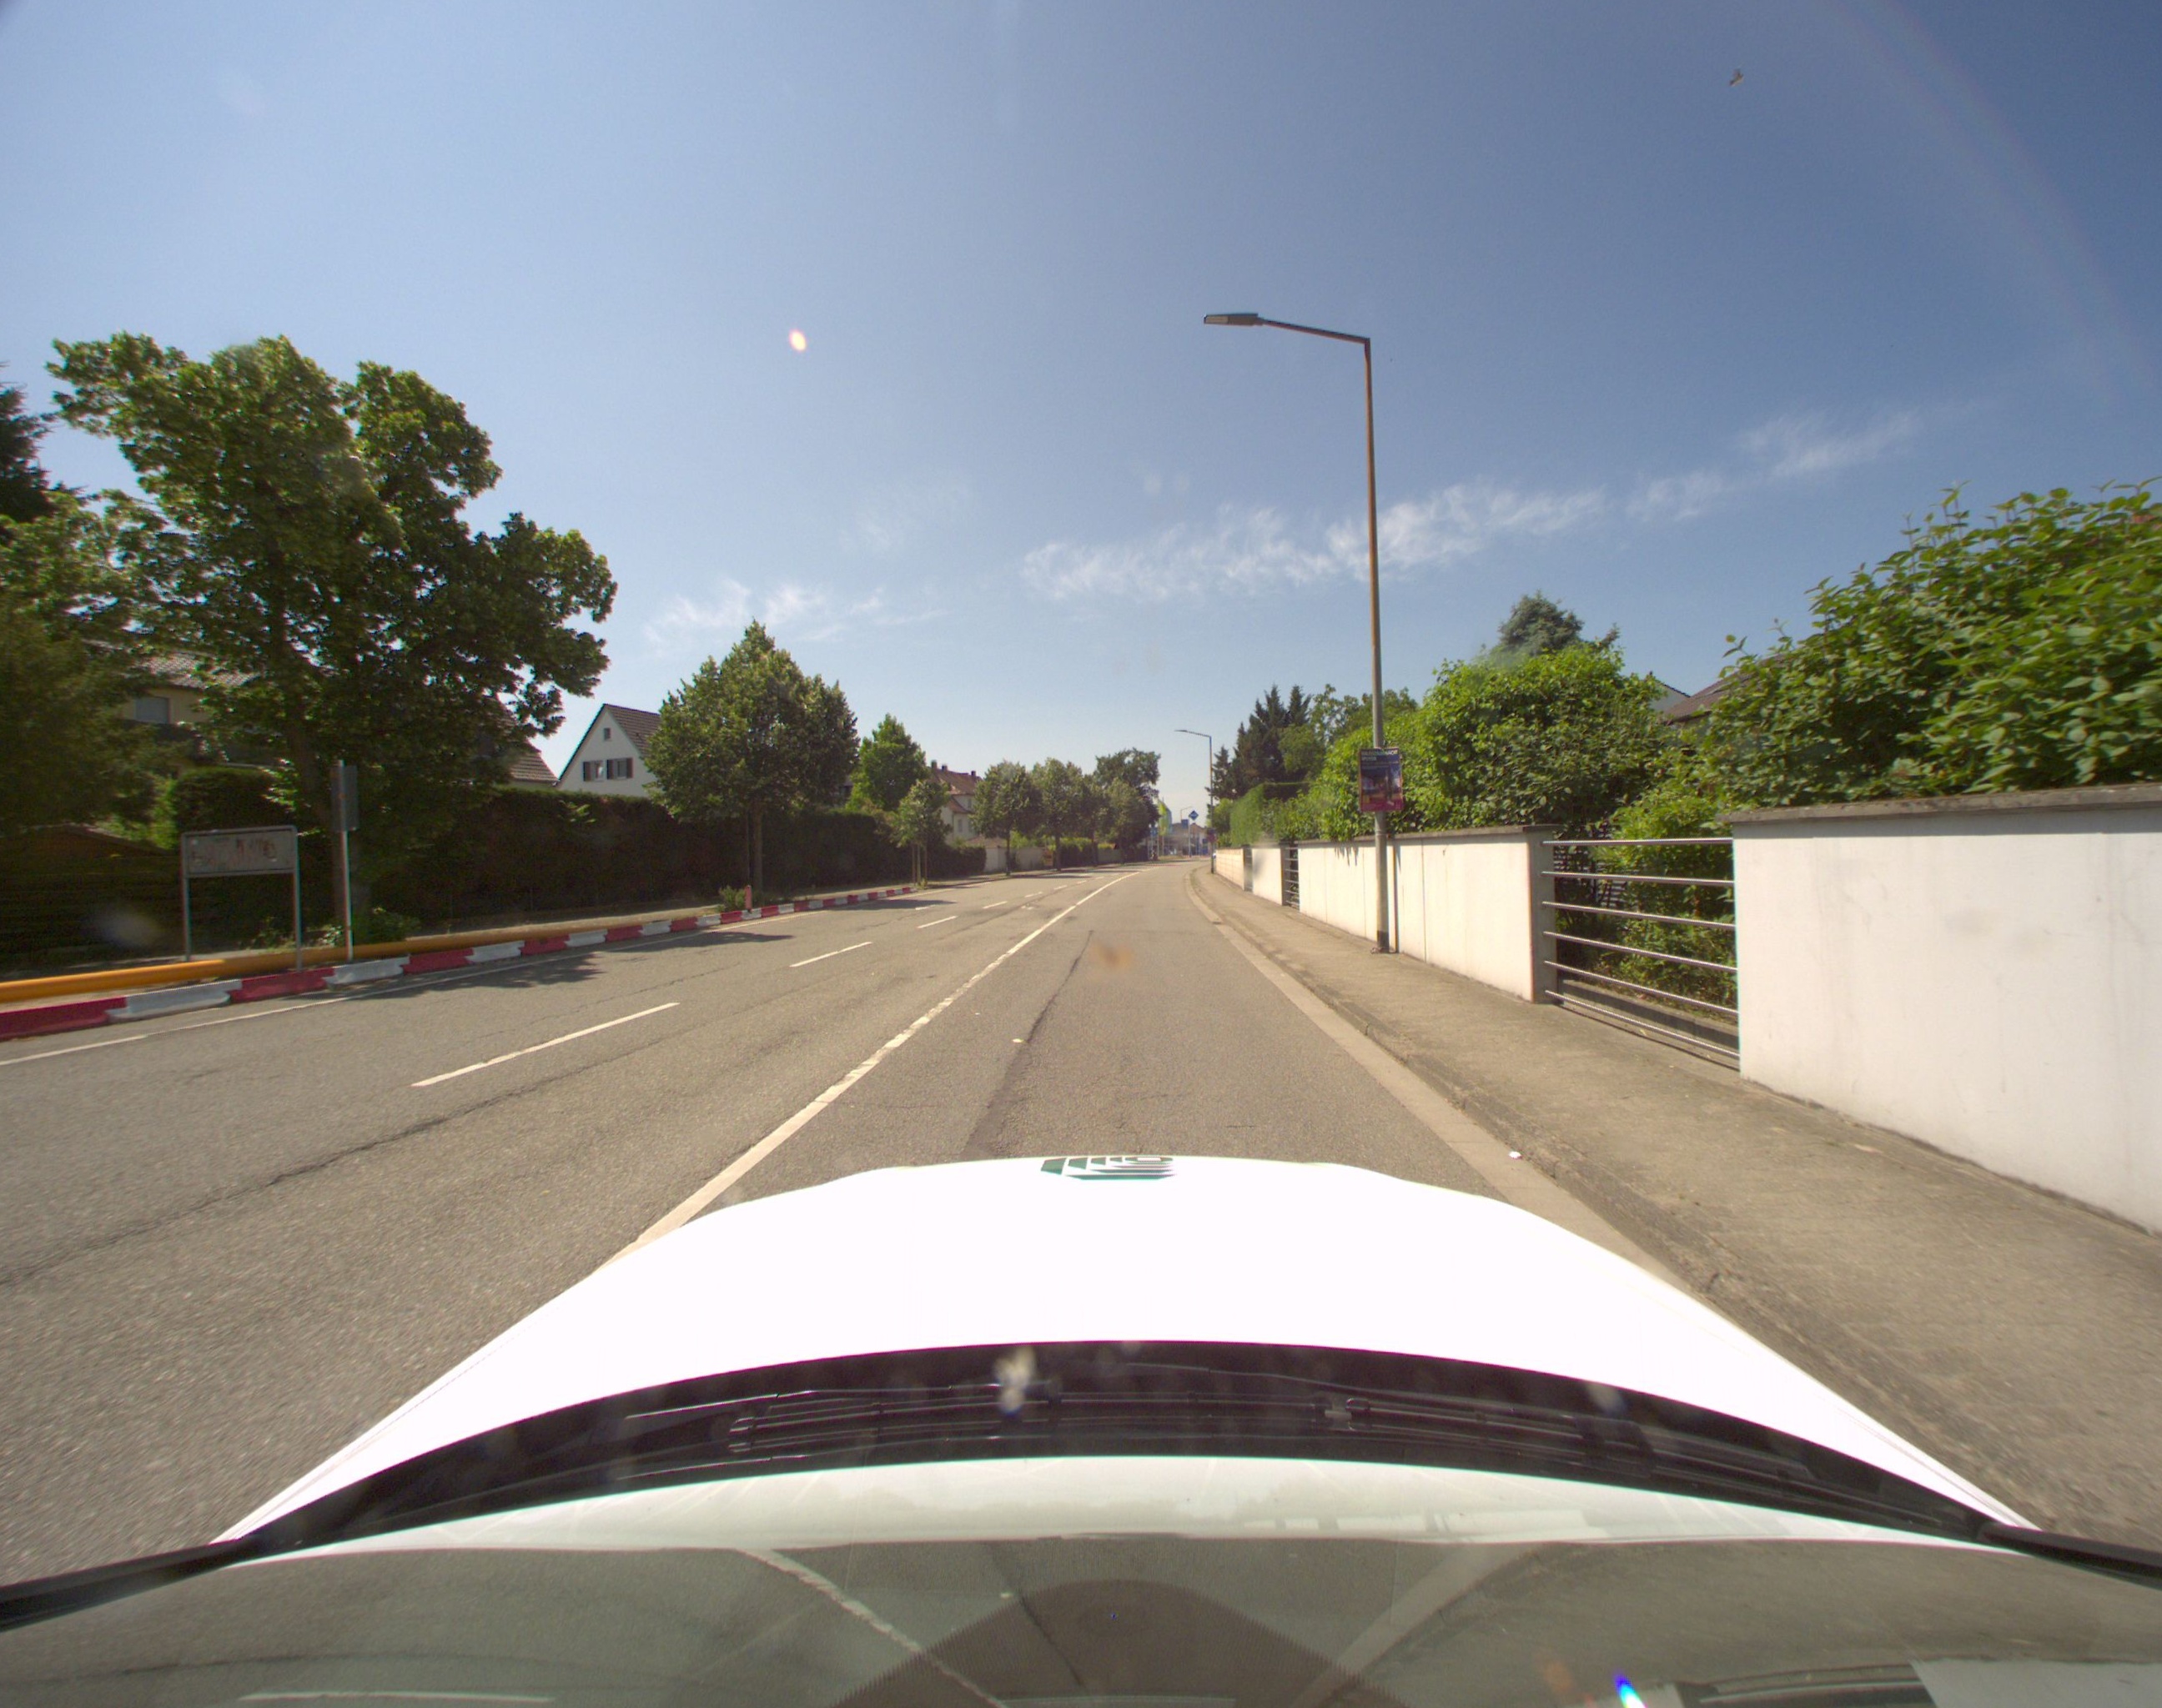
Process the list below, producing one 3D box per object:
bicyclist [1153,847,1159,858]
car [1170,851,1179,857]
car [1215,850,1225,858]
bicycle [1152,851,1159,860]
[{"bbox_3d":[9.738,-0.147,105.775,0.624,1.408,0.679,-2,0,13],"label":"bicyclist"},{"bbox_3d":[21.868,-0.033,190.703,1.605,1.420,3.725,-3,0,13],"label":"car"},{"bbox_3d":[25.590,-0.048,149.620,1.600,1.482,3.721,-1,0,14],"label":"car"},{"bbox_3d":[9.734,0.202,105.743,0.628,1.180,1.822,-2,0,13],"label":"bicycle"}]
